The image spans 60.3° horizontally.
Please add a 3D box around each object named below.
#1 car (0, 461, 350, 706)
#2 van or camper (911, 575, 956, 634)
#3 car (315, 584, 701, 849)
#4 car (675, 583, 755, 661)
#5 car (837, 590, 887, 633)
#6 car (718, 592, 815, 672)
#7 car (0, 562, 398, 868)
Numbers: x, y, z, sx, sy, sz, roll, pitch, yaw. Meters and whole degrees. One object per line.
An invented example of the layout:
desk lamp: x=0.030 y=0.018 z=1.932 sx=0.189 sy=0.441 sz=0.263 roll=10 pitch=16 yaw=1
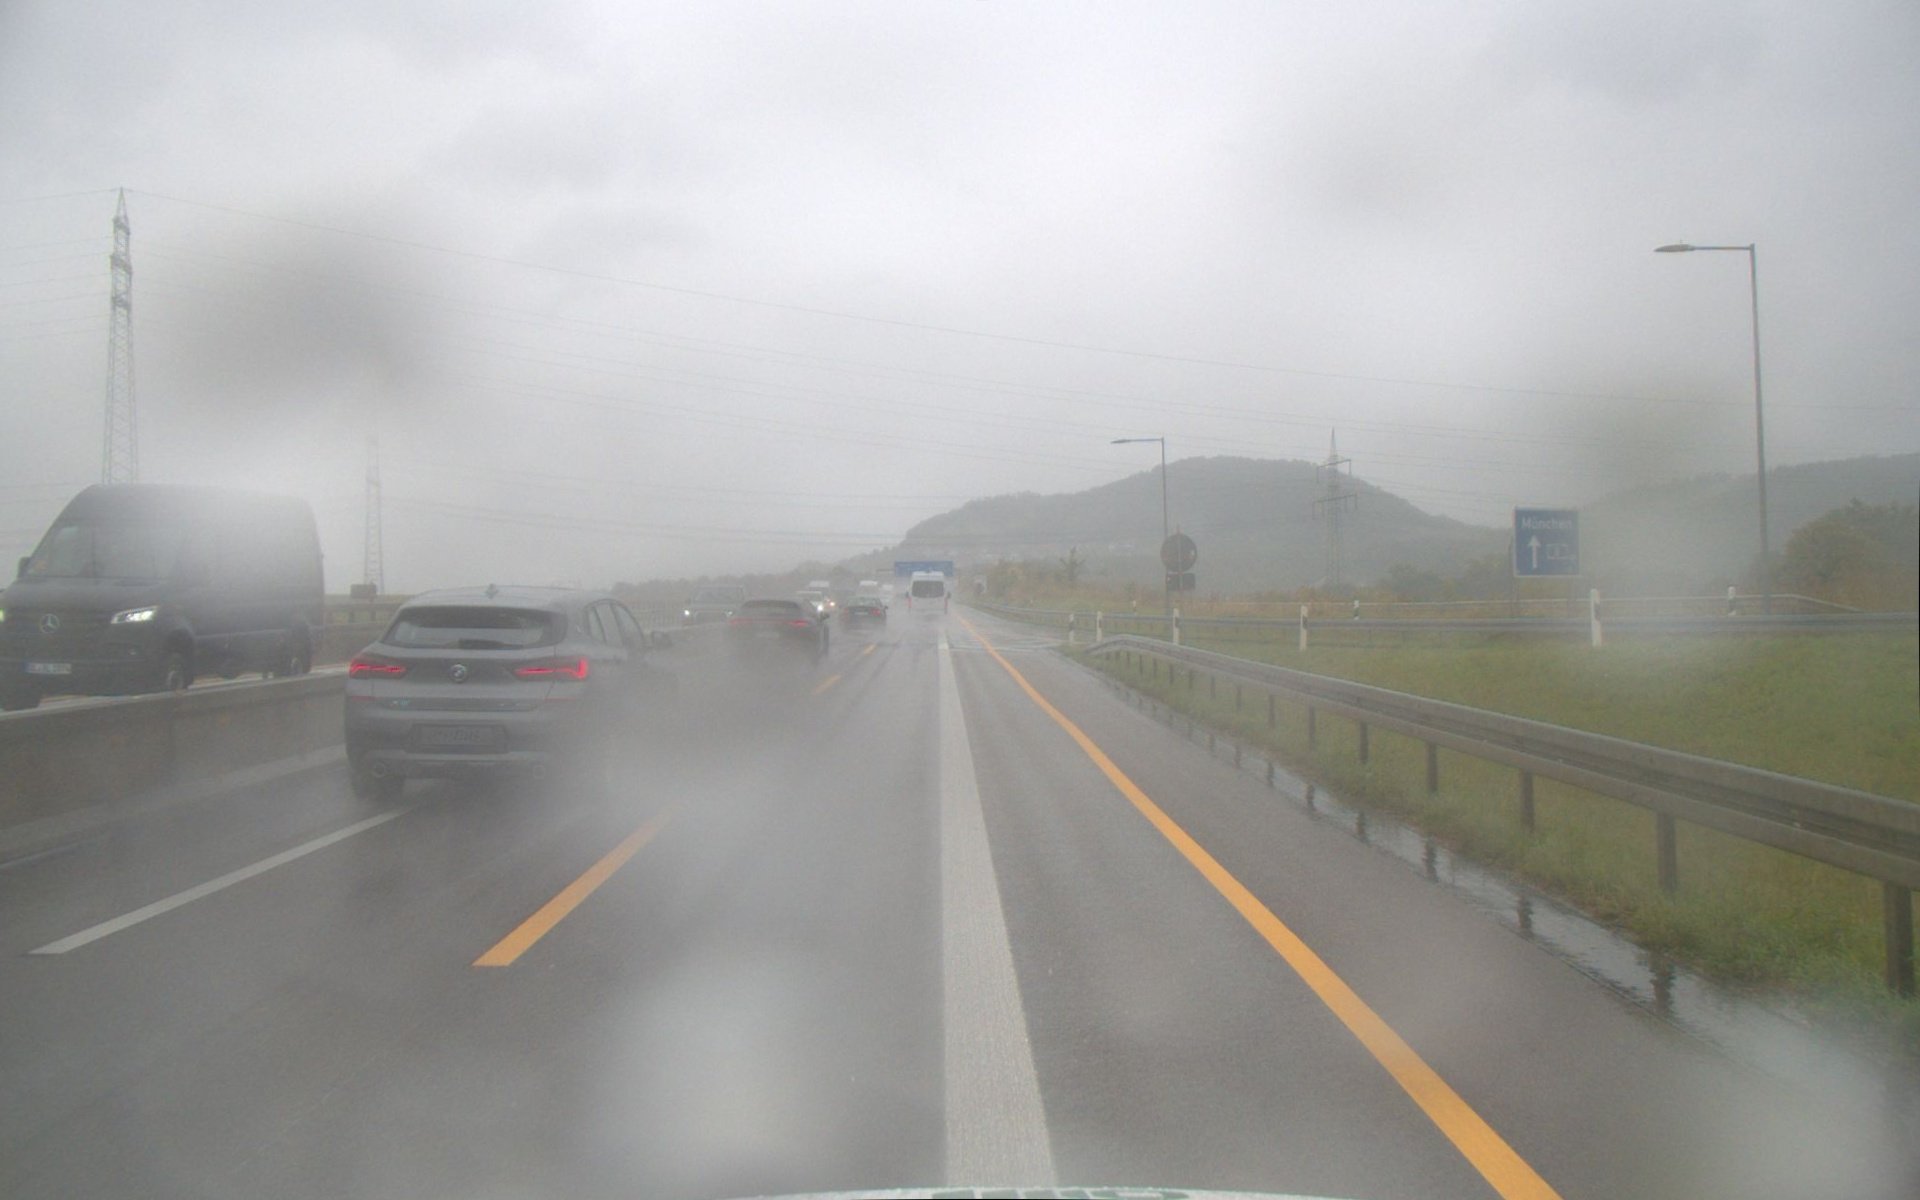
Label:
car: x=-9.836 y=-0.167 z=20.526 sx=2.027 sy=2.561 sz=6.177 roll=-1 pitch=0 yaw=2
van or camper: x=-1.339 y=0.242 z=81.948 sx=1.957 sy=2.826 sz=4.045 roll=1 pitch=-1 yaw=-5
car: x=-3.185 y=0.776 z=12.708 sx=1.666 sy=1.626 sz=4.844 roll=1 pitch=-1 yaw=-1
car: x=-6.987 y=0.598 z=47.496 sx=1.775 sy=2.132 sz=4.162 roll=0 pitch=0 yaw=-1
car: x=-3.804 y=0.419 z=63.728 sx=1.808 sy=1.517 sz=4.258 roll=-2 pitch=0 yaw=-4
car: x=-3.929 y=0.670 z=34.160 sx=1.808 sy=1.517 sz=4.257 roll=1 pitch=-1 yaw=-5
car: x=-6.366 y=0.759 z=13.498 sx=1.953 sy=2.037 sz=4.799 roll=-1 pitch=0 yaw=-1
